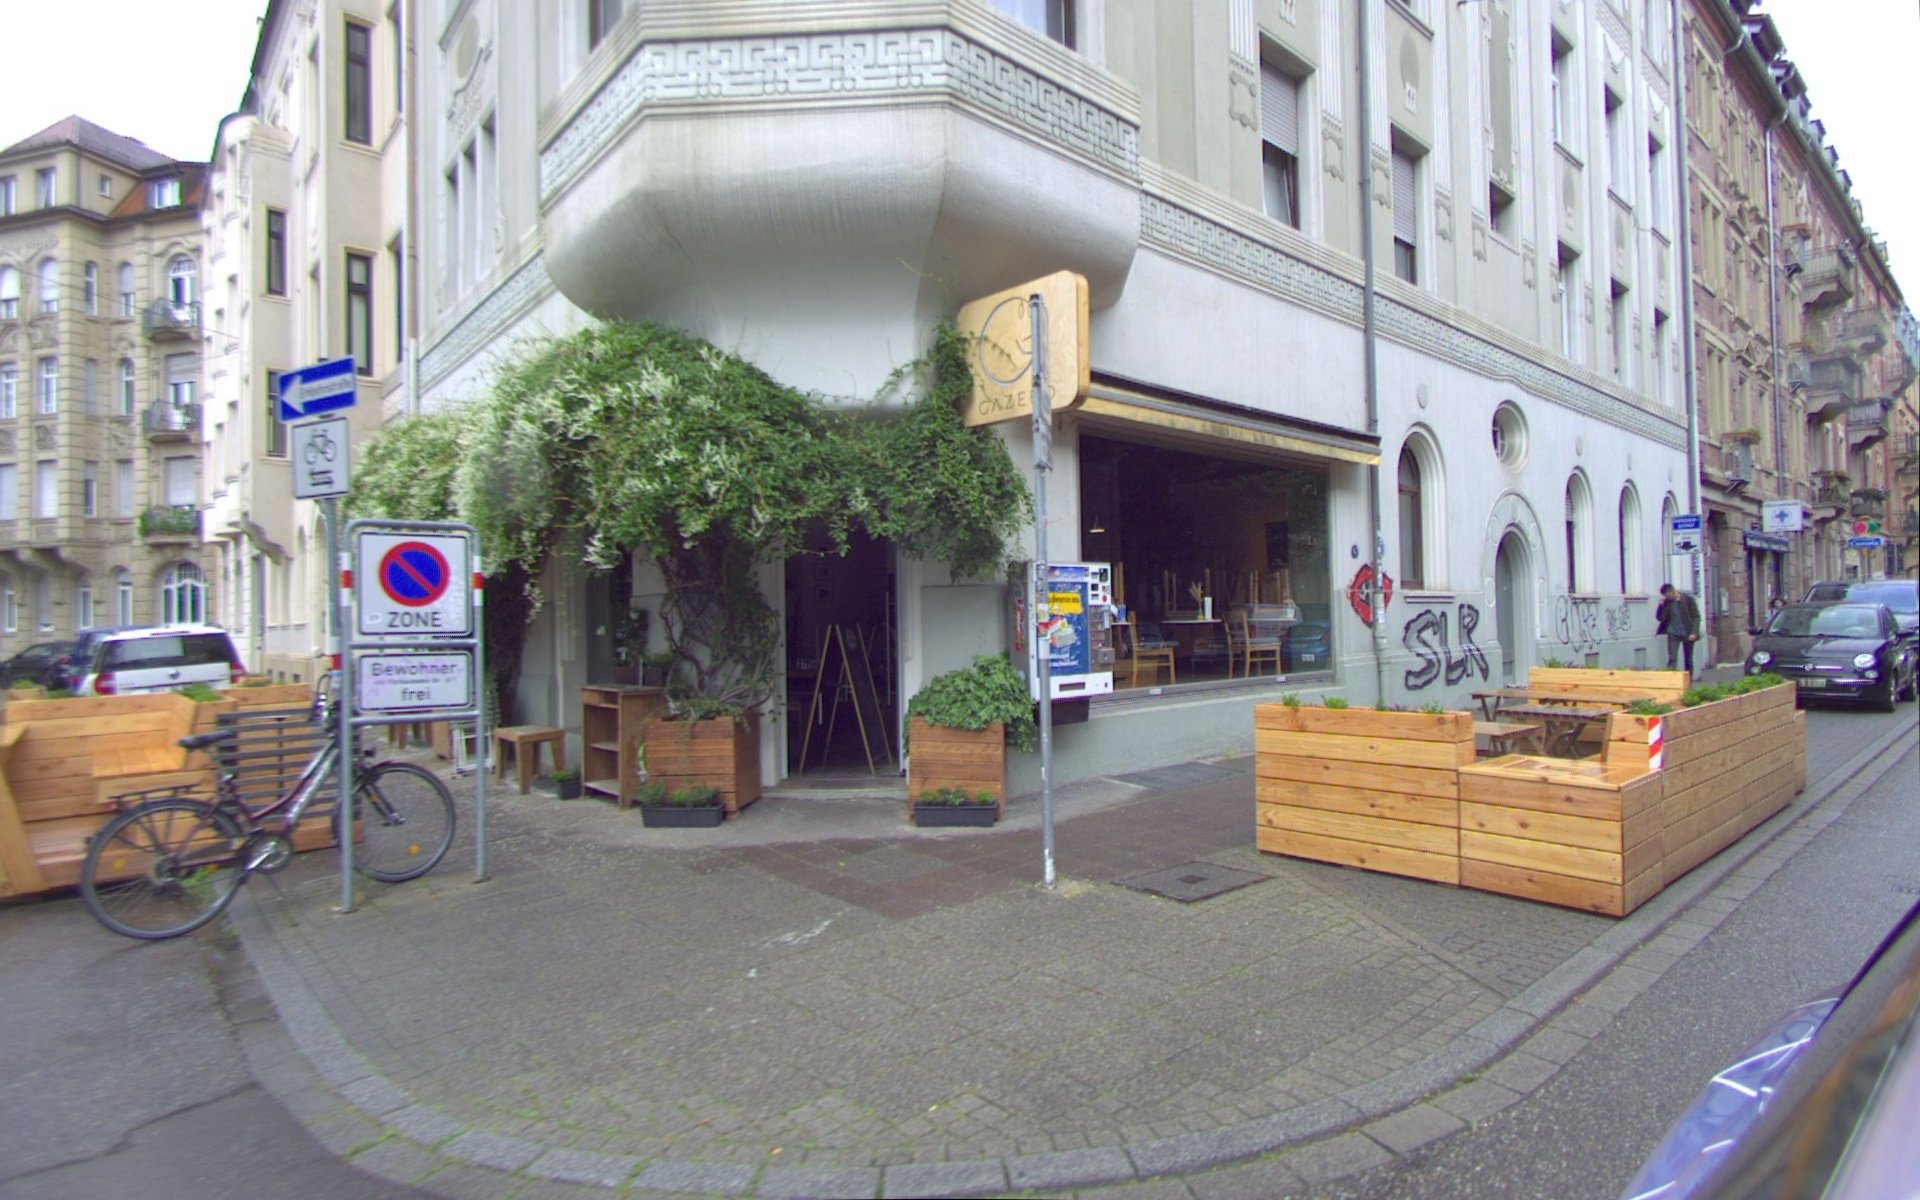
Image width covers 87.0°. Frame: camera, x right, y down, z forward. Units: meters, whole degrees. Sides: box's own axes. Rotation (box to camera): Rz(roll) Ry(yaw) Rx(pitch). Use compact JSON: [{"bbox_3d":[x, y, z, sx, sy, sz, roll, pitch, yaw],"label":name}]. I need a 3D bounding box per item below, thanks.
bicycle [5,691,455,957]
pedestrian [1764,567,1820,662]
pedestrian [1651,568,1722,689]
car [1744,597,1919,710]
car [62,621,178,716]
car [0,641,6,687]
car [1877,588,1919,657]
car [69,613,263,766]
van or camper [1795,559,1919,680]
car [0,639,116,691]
[{"bbox_3d":[-3.862,1.114,5.515,1.888,0.991,0.452,-5,1,-42],"label":"bicycle"},{"bbox_3d":[18.195,0.314,22.140,0.408,2.039,0.826,-2,0,-40],"label":"pedestrian"},{"bbox_3d":[12.199,0.473,16.995,0.408,1.976,0.826,-2,0,-40],"label":"pedestrian"},{"bbox_3d":[12.851,0.672,14.696,3.641,1.418,1.712,0,0,-42],"label":"car"},{"bbox_3d":[-18.338,1.416,22.038,1.784,1.801,3.846,-2,0,-42],"label":"car"},{"bbox_3d":[-35.389,2.215,34.932,4.083,1.576,1.706,-1,-2,16],"label":"car"},{"bbox_3d":[23.556,0.494,24.358,3.936,1.565,1.843,-1,0,-43],"label":"car"},{"bbox_3d":[-11.247,1.136,14.241,1.785,1.719,3.845,-4,2,-43],"label":"car"},{"bbox_3d":[16.705,0.296,18.100,4.968,1.915,2.024,0,0,-42],"label":"van or camper"},{"bbox_3d":[-29.491,2.069,32.908,4.206,1.576,1.698,-1,-2,29],"label":"car"}]
